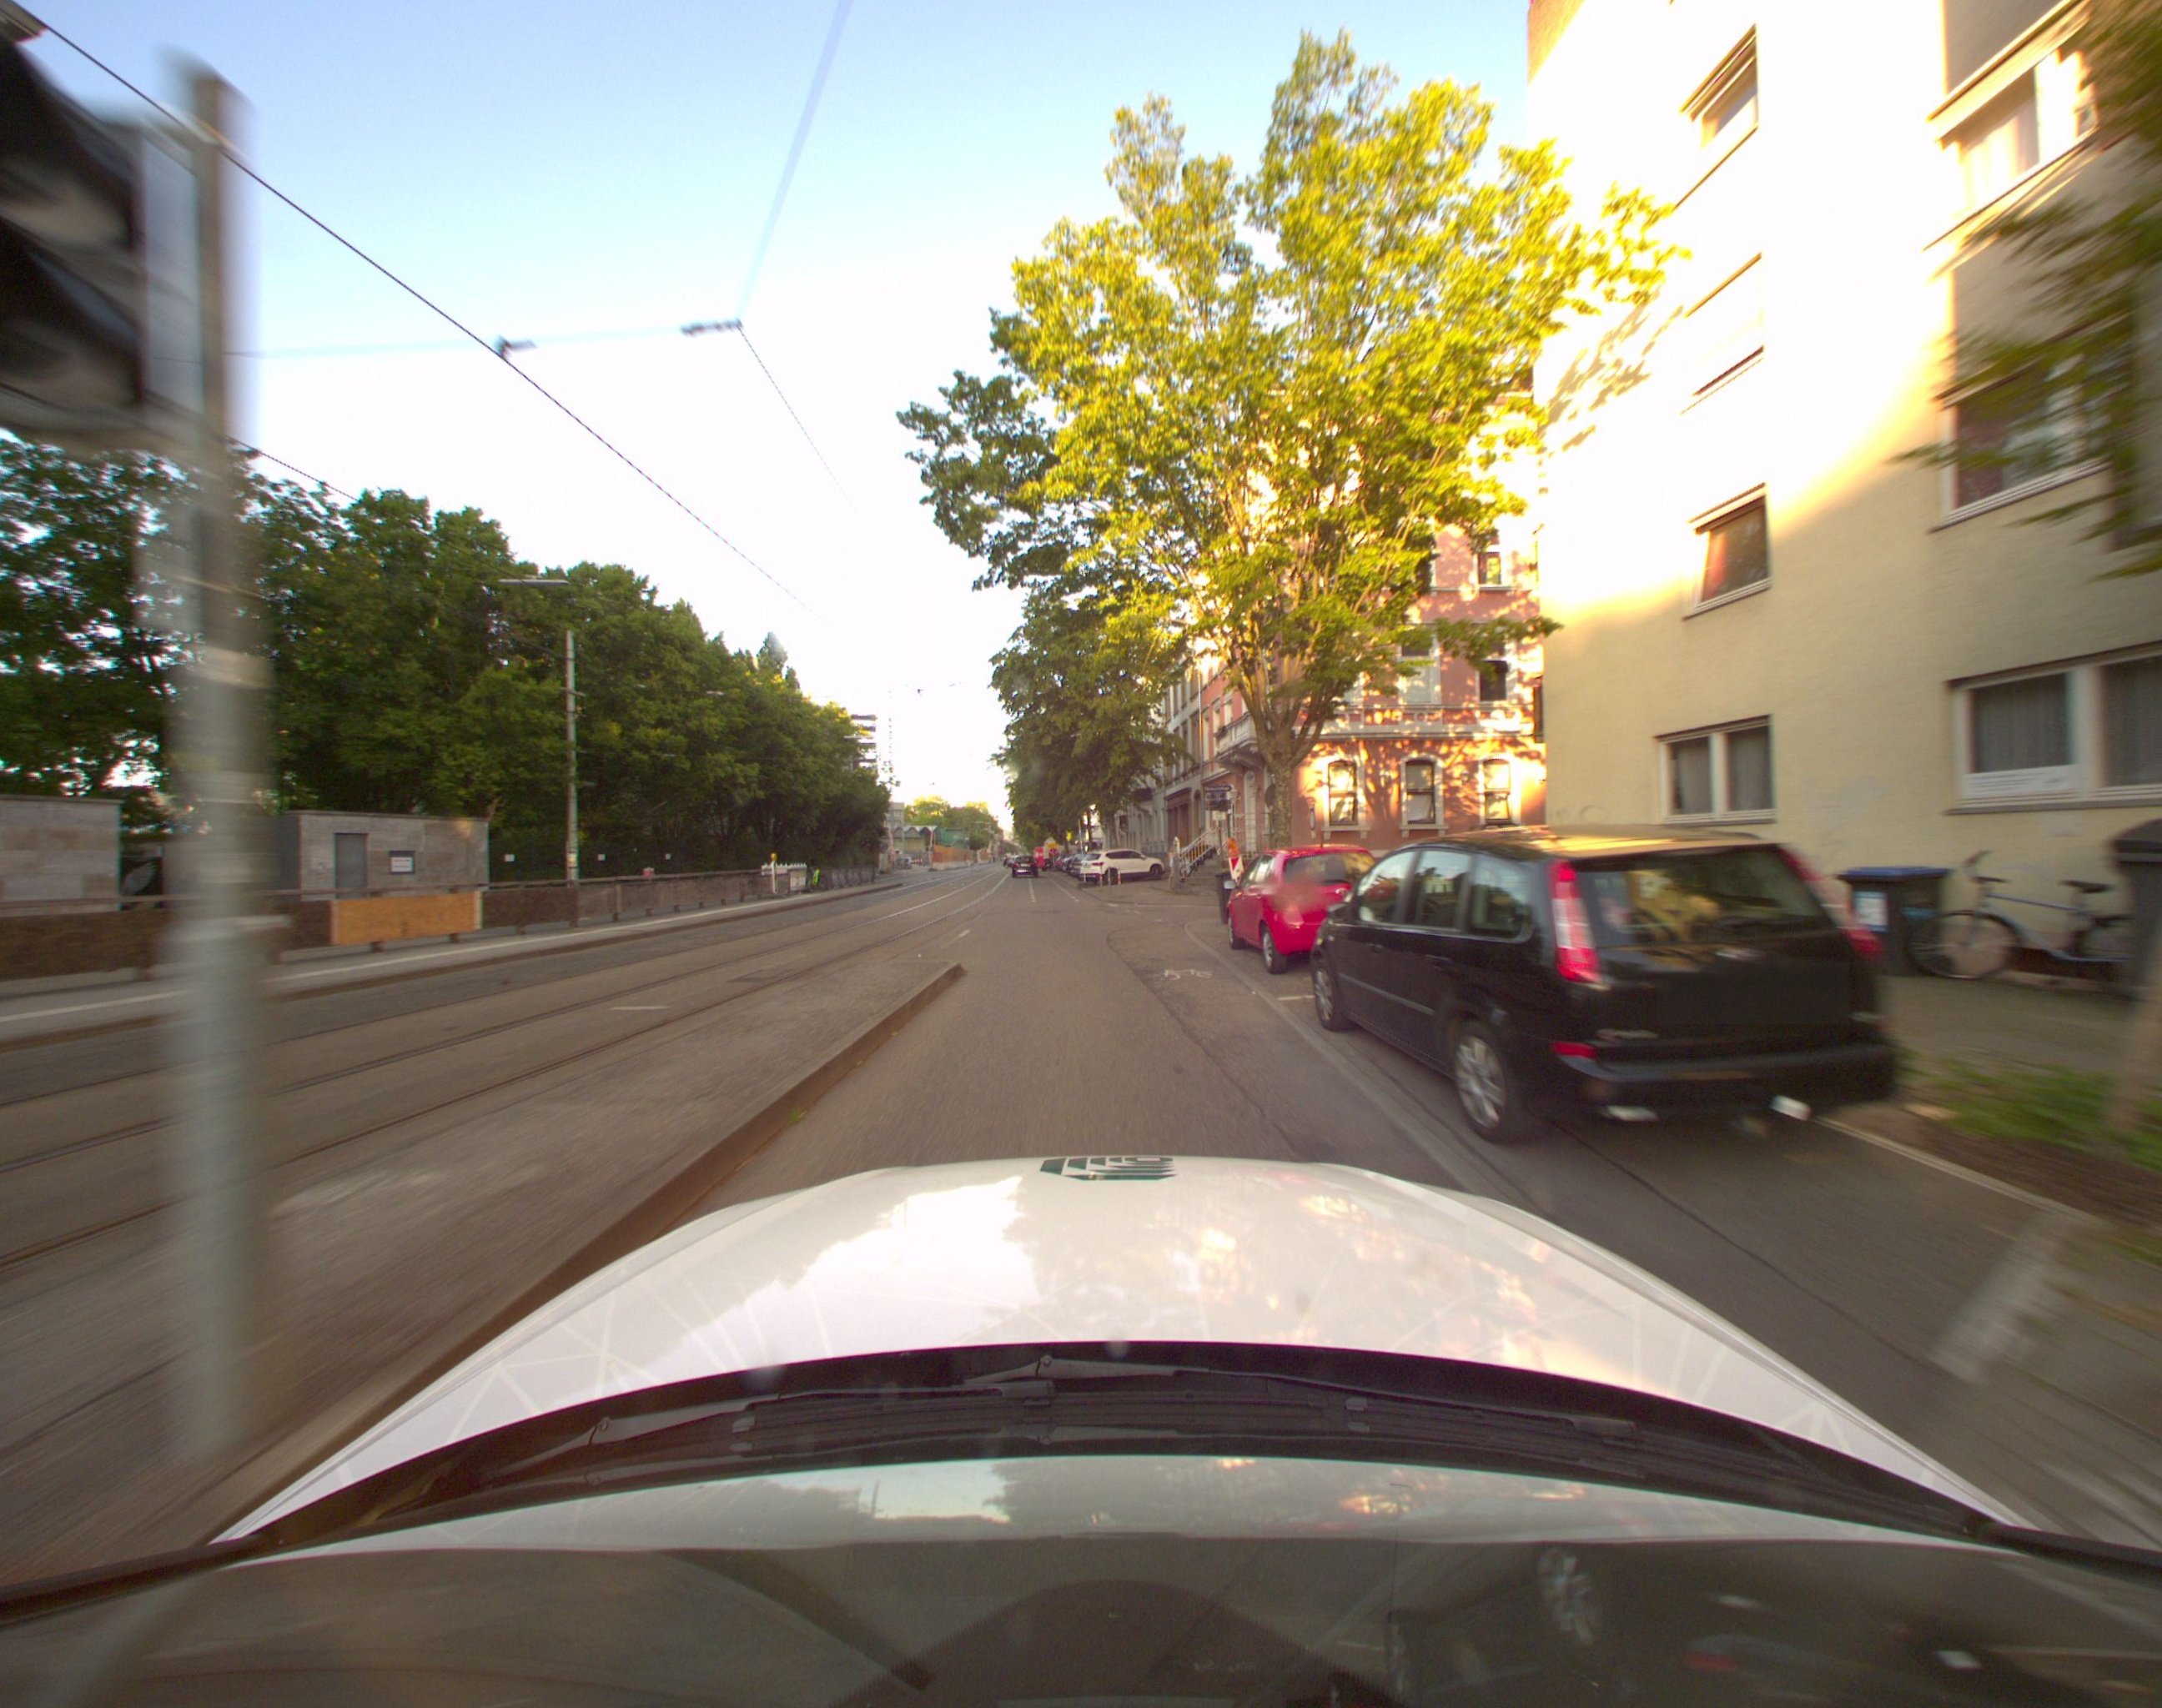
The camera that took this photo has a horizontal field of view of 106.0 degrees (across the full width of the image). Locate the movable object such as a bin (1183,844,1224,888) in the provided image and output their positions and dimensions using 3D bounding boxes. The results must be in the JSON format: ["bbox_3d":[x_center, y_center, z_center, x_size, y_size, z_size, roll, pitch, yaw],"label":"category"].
[{"bbox_3d":[4.298,0.404,28.680,1.138,1.502,1.397,-1,0,-5],"label":"movable object such as a bin"}]

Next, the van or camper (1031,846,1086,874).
[{"bbox_3d":[-2.330,0.595,86.847,5.578,2.530,2.062,-5,0,-39],"label":"van or camper"}]

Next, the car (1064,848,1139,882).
[{"bbox_3d":[1.208,0.611,46.519,3.977,1.668,1.879,-4,0,-41],"label":"car"}]

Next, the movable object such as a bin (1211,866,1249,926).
[{"bbox_3d":[2.971,0.835,16.281,0.708,1.153,0.589,-1,0,8],"label":"movable object such as a bin"}]

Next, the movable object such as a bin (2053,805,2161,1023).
[{"bbox_3d":[8.001,0.407,5.495,1.111,1.502,1.479,-1,0,-5],"label":"movable object such as a bin"}]

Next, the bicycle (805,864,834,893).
[{"bbox_3d":[-10.429,0.958,32.507,0.461,1.075,2.021,-2,0,0],"label":"bicycle"}]

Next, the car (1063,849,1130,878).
[{"bbox_3d":[1.014,0.632,52.577,3.973,1.603,1.820,-3,-1,-36],"label":"car"}]

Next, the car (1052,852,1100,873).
[{"bbox_3d":[-0.427,0.791,75.113,3.968,1.603,1.822,-5,0,-31],"label":"car"}]

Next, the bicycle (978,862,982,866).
[{"bbox_3d":[-23.157,2.211,186.579,0.947,0.849,2.690,-2,0,-7],"label":"bicycle"}]

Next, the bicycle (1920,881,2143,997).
[{"bbox_3d":[8.182,0.695,7.076,0.413,0.864,1.221,-1,0,-10],"label":"bicycle"}]

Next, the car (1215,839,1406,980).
[{"bbox_3d":[2.948,0.633,11.217,1.559,1.536,3.693,-3,0,1],"label":"car"}]

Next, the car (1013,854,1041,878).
[{"bbox_3d":[-3.847,0.817,57.668,1.878,1.620,3.993,1,0,-5],"label":"car"}]

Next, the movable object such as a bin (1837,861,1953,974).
[{"bbox_3d":[7.956,0.600,7.978,0.553,1.047,0.570,-1,0,-6],"label":"movable object such as a bin"}]

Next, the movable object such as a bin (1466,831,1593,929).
[{"bbox_3d":[7.362,0.397,13.472,1.138,1.502,1.595,-1,0,-5],"label":"movable object such as a bin"}]

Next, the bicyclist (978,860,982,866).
[{"bbox_3d":[-23.173,1.964,186.674,0.943,1.346,1.109,-2,-1,-7],"label":"bicyclist"}]

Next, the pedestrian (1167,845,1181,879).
[{"bbox_3d":[4.528,0.387,39.647,0.585,1.609,0.624,-1,0,-4],"label":"pedestrian"}]

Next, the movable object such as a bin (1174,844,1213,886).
[{"bbox_3d":[4.160,0.391,30.102,1.138,1.502,1.397,-1,0,-5],"label":"movable object such as a bin"}]

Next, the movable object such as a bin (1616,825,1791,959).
[{"bbox_3d":[7.541,0.429,9.950,1.138,1.502,1.268,-1,0,-5],"label":"movable object such as a bin"}]

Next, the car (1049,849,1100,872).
[{"bbox_3d":[-0.545,0.553,69.571,3.973,1.603,1.820,-5,-1,-36],"label":"car"}]

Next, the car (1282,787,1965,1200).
[{"bbox_3d":[2.800,0.582,5.471,1.738,1.632,4.086,-3,0,-1],"label":"car"}]

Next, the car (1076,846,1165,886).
[{"bbox_3d":[1.898,0.541,38.603,3.972,1.626,1.656,-4,1,-35],"label":"car"}]

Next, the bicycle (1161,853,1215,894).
[{"bbox_3d":[3.569,0.633,27.101,1.928,1.266,0.594,-2,0,-39],"label":"bicycle"}]

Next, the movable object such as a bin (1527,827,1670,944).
[{"bbox_3d":[7.091,0.410,11.245,1.071,1.502,1.316,-1,0,-6],"label":"movable object such as a bin"}]
